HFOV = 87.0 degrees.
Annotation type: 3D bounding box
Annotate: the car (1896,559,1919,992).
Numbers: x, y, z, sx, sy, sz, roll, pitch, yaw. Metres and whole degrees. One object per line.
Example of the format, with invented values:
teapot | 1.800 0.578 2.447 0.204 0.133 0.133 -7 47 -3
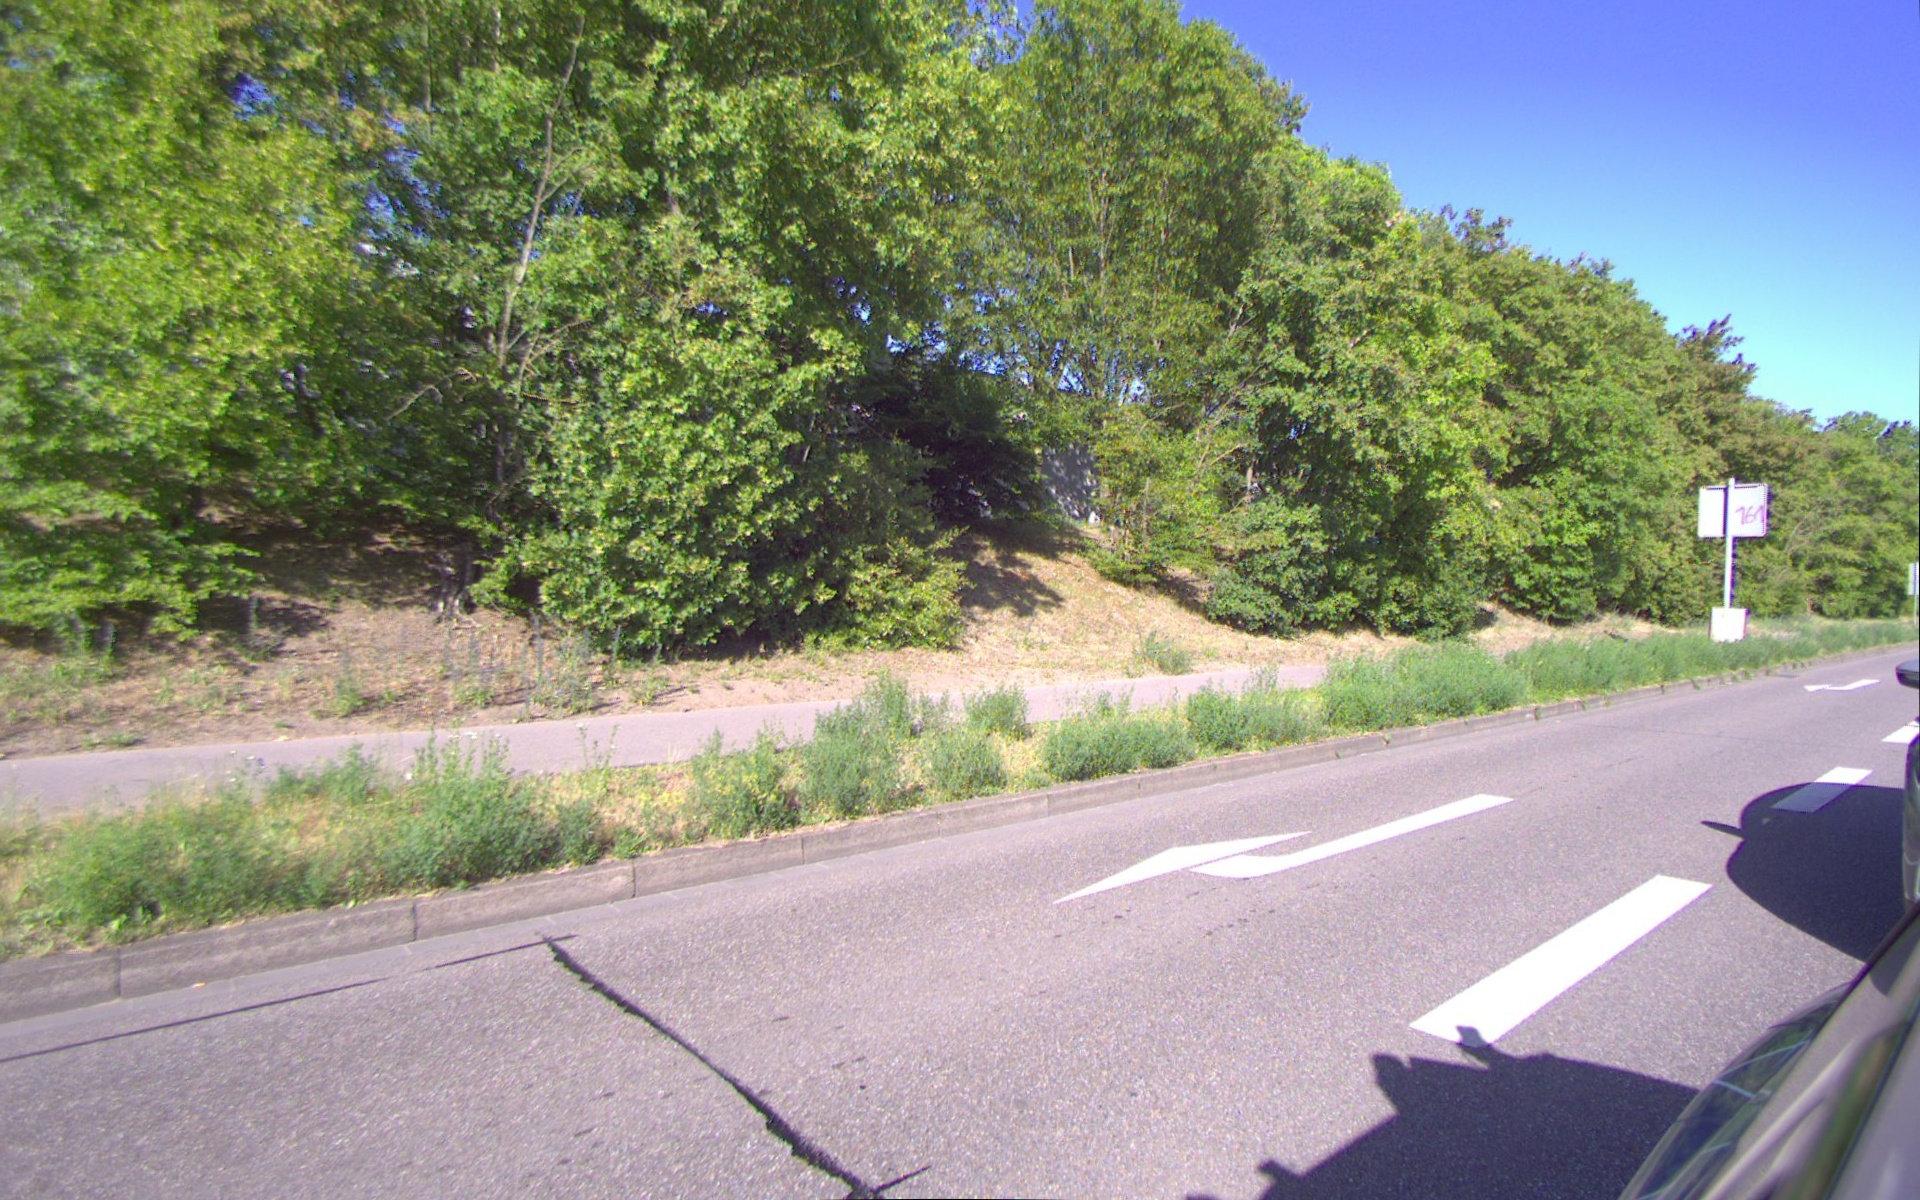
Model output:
car | 5.733 0.653 4.542 4.327 1.603 1.860 0 0 -42
